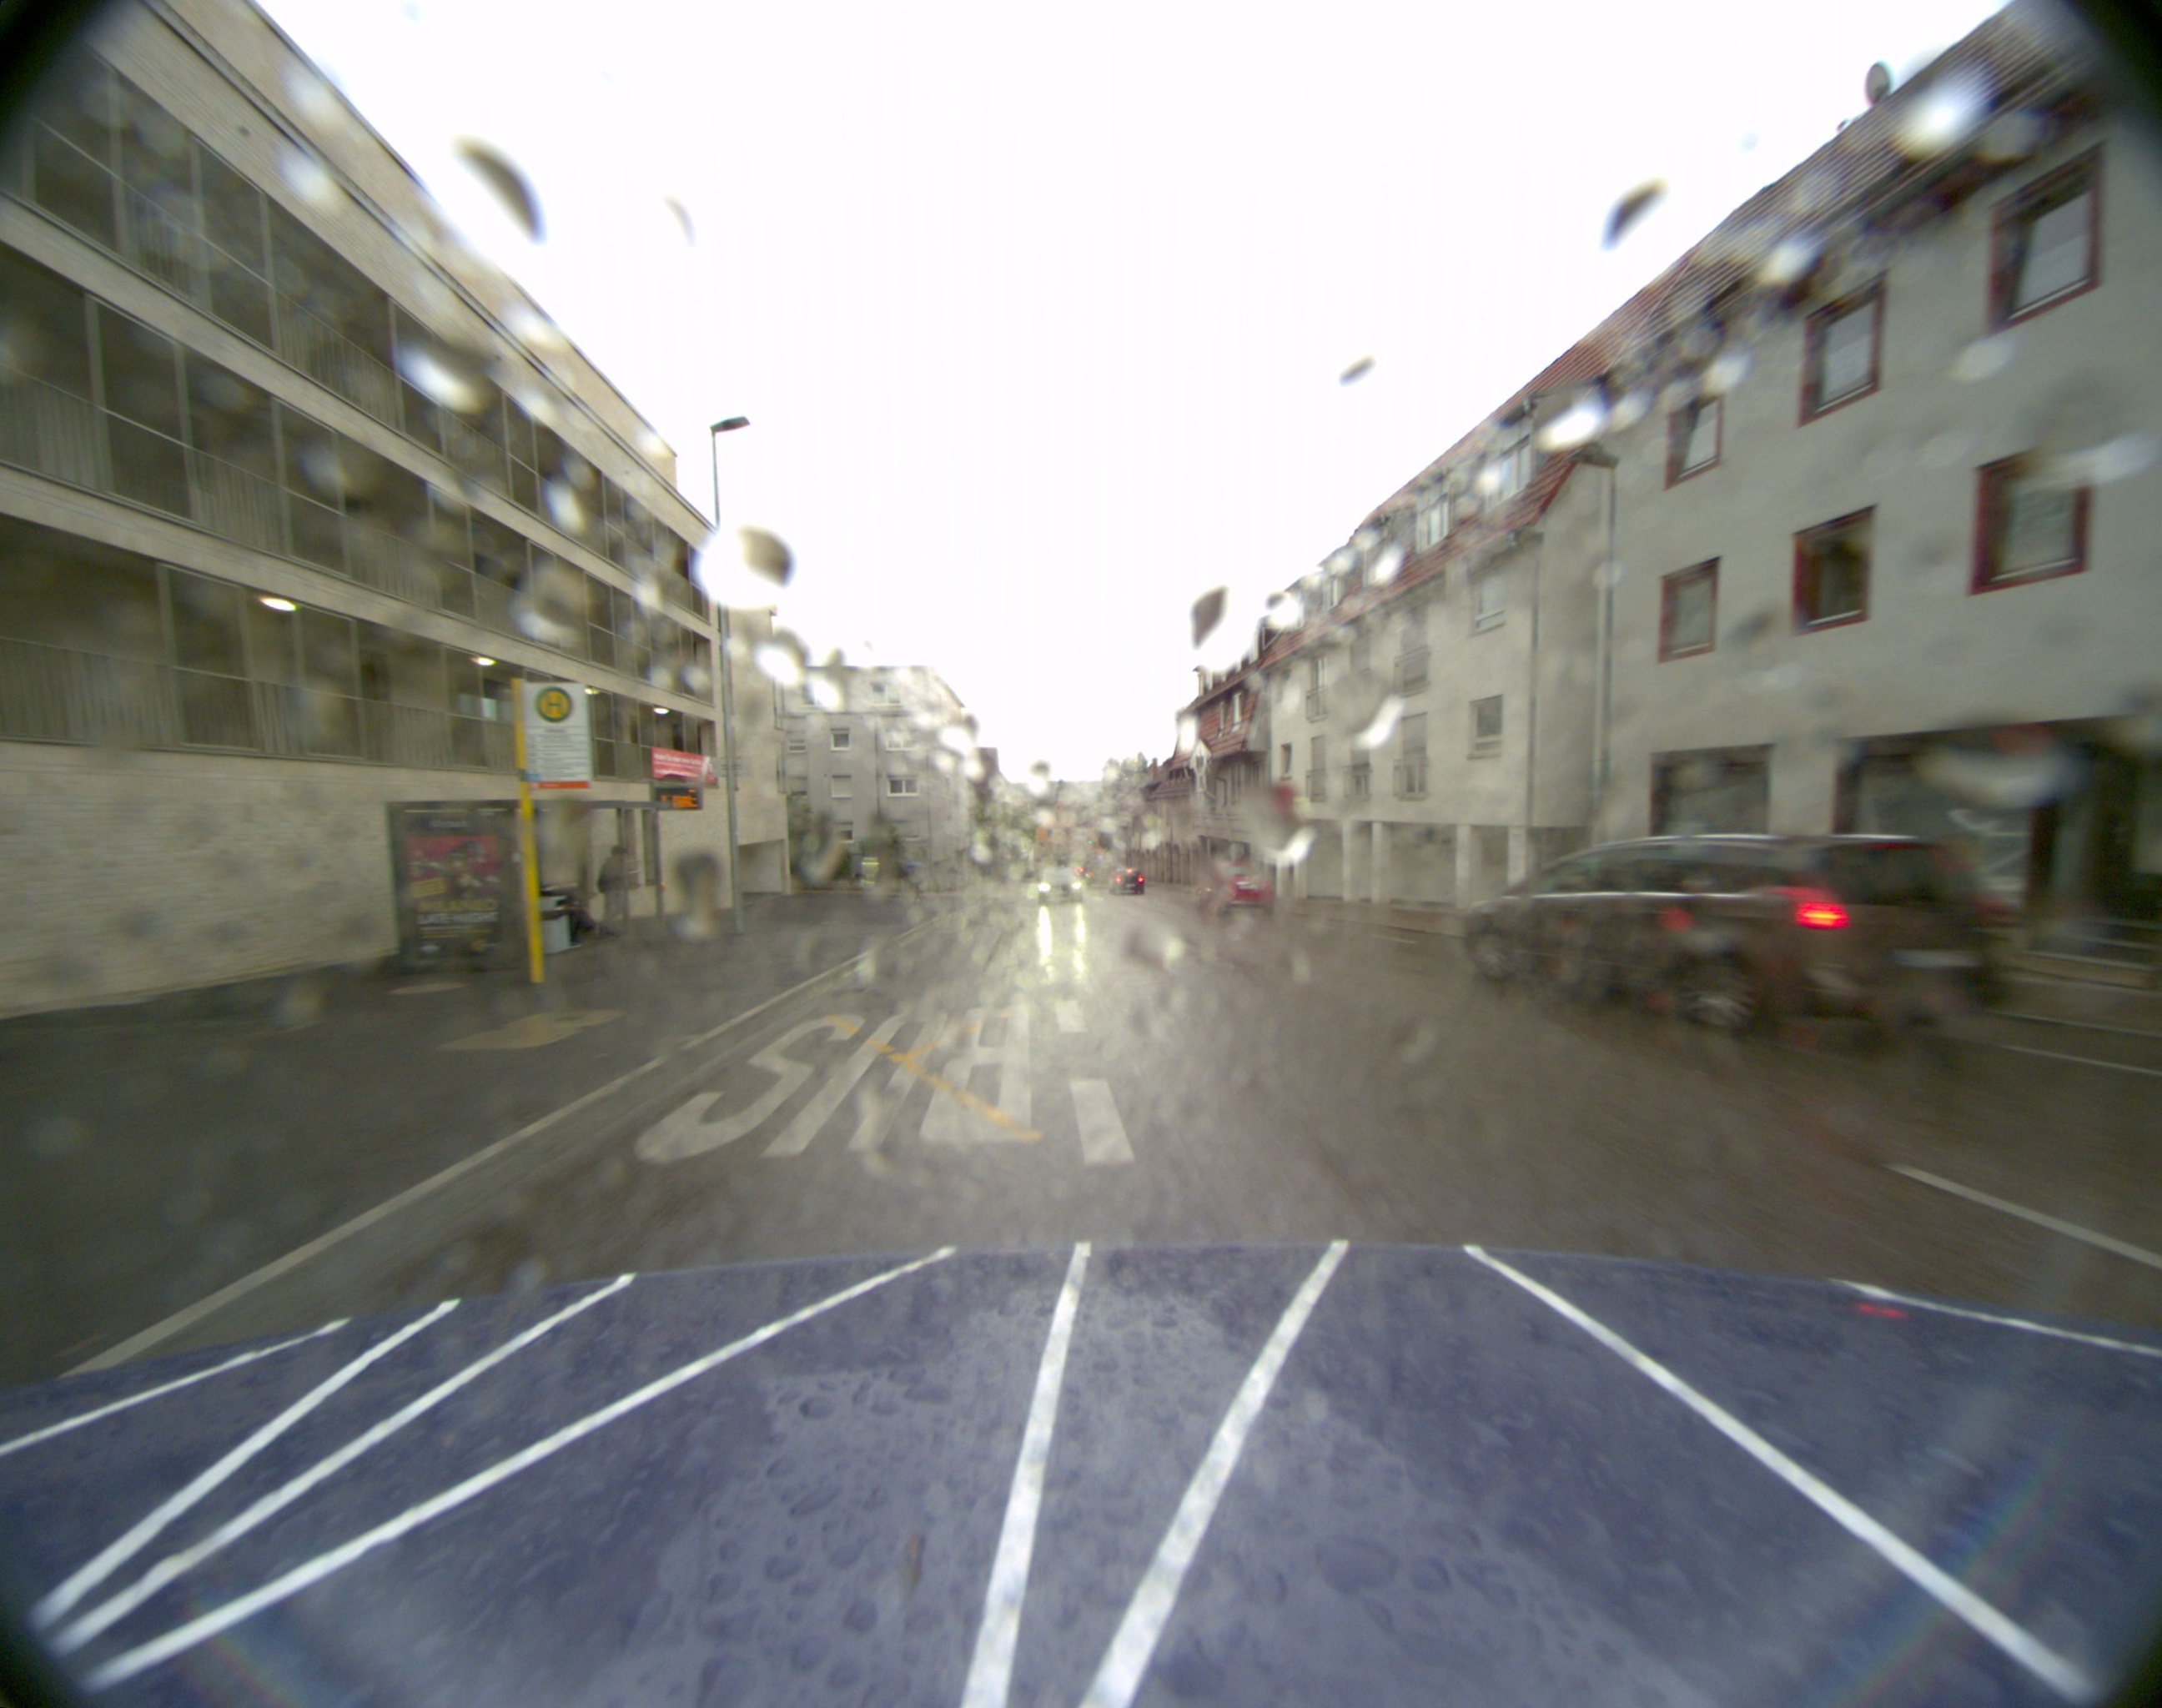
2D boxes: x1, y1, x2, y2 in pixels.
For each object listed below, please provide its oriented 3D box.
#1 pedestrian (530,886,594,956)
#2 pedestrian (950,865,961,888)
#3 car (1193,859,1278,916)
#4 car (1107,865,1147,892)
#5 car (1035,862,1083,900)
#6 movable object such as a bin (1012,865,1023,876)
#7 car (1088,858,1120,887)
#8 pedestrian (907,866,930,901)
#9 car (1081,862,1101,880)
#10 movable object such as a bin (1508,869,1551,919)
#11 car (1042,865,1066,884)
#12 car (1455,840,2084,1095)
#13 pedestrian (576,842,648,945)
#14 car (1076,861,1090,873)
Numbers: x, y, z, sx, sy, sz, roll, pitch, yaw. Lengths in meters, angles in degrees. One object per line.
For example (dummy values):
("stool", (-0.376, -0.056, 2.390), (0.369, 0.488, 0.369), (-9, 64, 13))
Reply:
("pedestrian", (-9.021, 1.156, 13.230), (0.674, 1.155, 0.635), (0, 0, -2))
("pedestrian", (-8.376, 1.508, 50.807), (0.692, 1.546, 0.710), (-2, 0, -8))
("car", (4.421, 0.915, 22.243), (1.563, 1.527, 3.448), (0, 0, -4))
("car", (2.553, 1.340, 42.731), (1.692, 1.435, 3.908), (-1, 0, -5))
("car", (-0.962, 1.153, 34.271), (1.967, 1.549, 4.622), (-1, 0, -1))
("movable object such as a bin", (-7.473, 1.958, 89.685), (1.238, 1.327, 1.172), (0, 0, 0))
("car", (1.579, 1.288, 54.052), (1.937, 1.896, 5.042), (-1, 0, -1))
("pedestrian", (-7.288, 1.312, 34.081), (0.737, 1.533, 1.038), (2, 0, 1))
("car", (0.981, 1.672, 77.090), (1.787, 1.684, 4.459), (-1, 0, -1))
("movable object such as a bin", (9.350, 0.824, 15.858), (0.509, 1.000, 0.585), (-2, 0, -6))
("car", (-2.374, 1.850, 68.051), (1.967, 1.597, 4.384), (-1, -2, -1))
("car", (5.656, 0.743, 7.137), (1.787, 1.620, 4.213), (-1, 0, -7))
("pedestrian", (-9.071, 0.744, 14.744), (0.784, 1.929, 1.021), (0, 0, -2))
("car", (0.256, 1.611, 94.149), (1.681, 1.501, 3.588), (-1, 0, -1))
